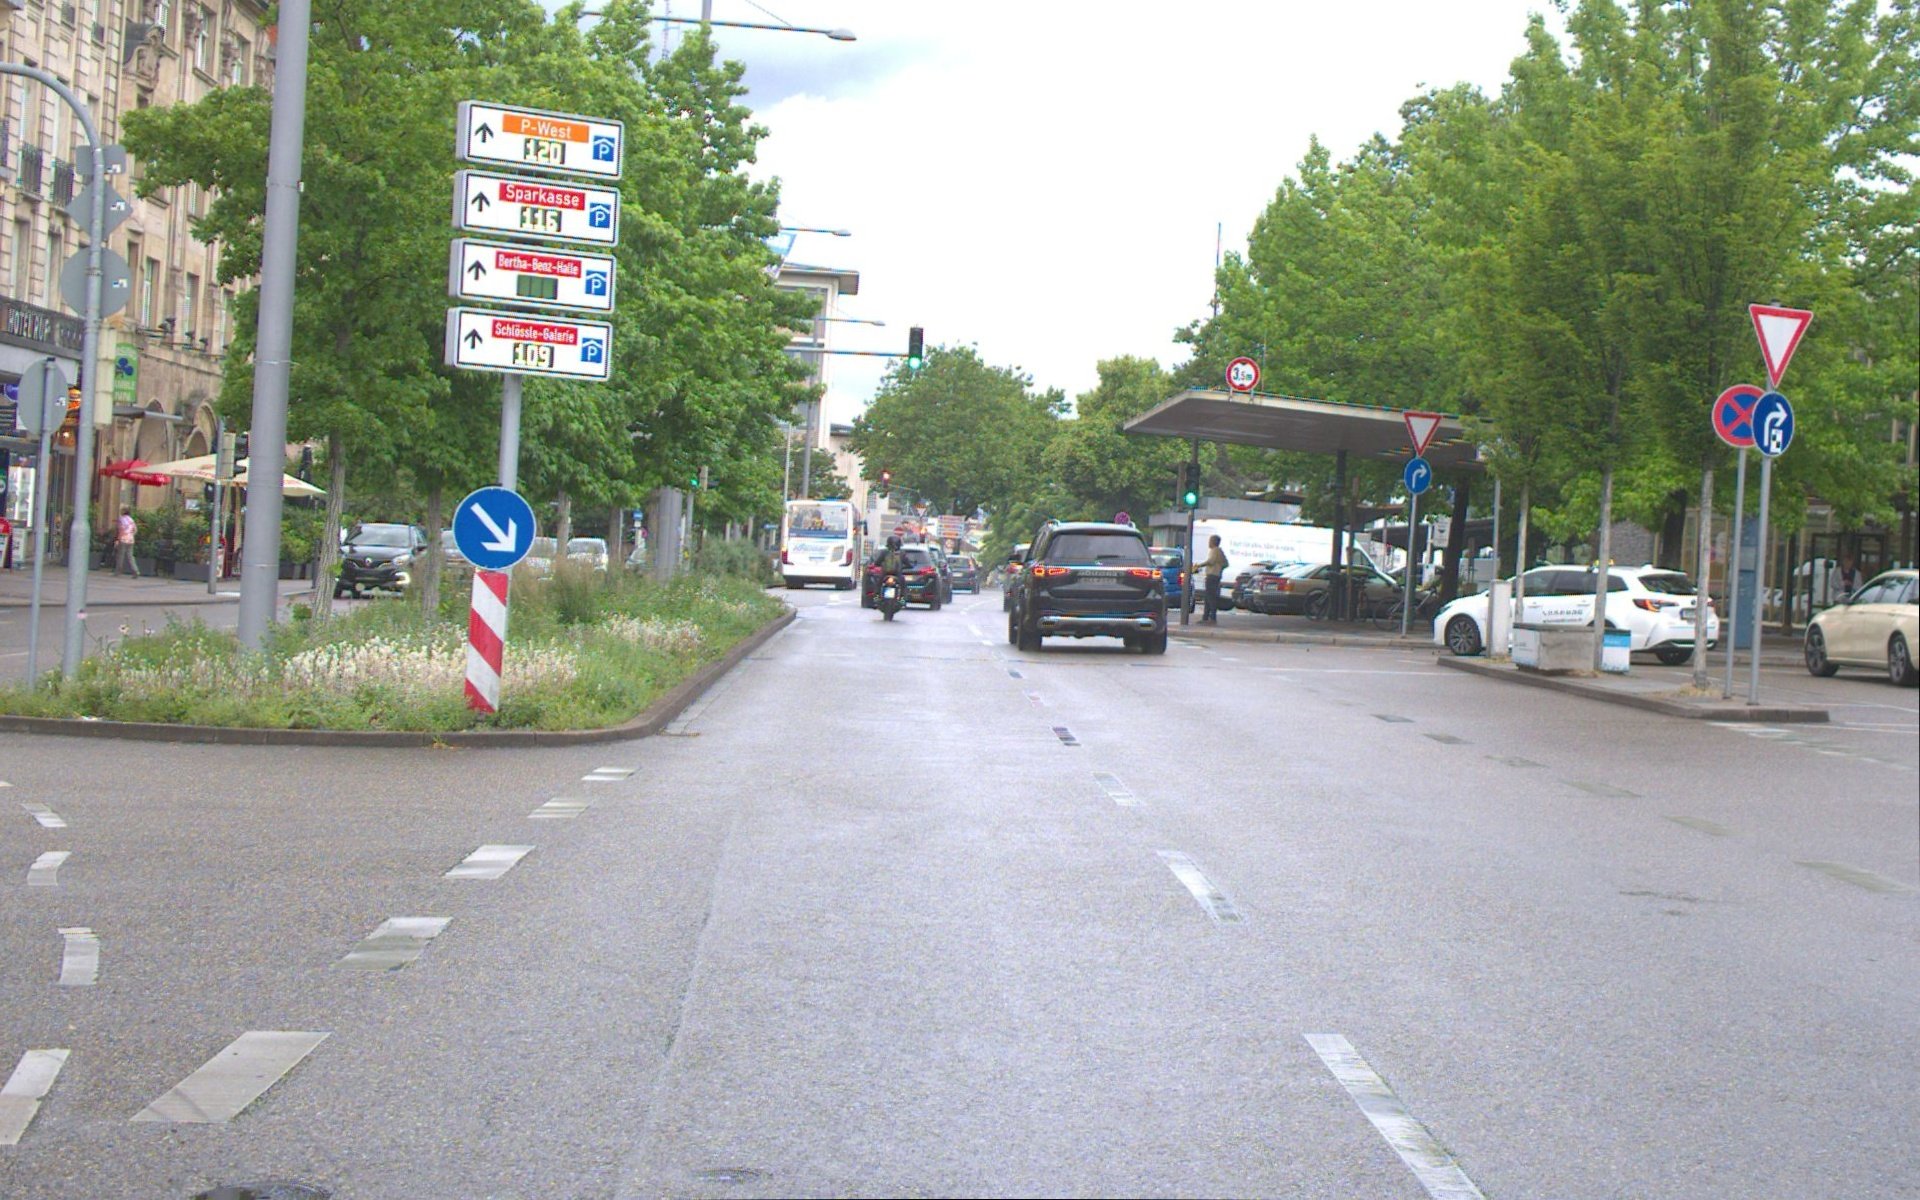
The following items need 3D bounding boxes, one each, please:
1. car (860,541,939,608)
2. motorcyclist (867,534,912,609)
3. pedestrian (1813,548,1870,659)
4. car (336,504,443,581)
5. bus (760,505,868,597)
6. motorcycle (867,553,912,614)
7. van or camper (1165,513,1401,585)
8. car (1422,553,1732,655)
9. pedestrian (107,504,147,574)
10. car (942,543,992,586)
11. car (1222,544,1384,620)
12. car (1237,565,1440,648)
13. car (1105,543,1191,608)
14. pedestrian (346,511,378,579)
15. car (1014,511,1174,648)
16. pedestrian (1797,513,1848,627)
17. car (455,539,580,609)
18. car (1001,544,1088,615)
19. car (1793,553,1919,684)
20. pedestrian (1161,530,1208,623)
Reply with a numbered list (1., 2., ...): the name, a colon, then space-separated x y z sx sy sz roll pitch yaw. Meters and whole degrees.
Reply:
1. car: -1.359 -0.601 77.609 1.708 1.443 4.000 1 1 -1
2. motorcyclist: -1.284 -0.521 62.789 0.764 1.327 0.866 2 1 0
3. pedestrian: 16.141 0.052 62.957 0.769 2.007 0.828 1 1 -2
4. car: -11.857 -1.208 71.647 1.771 1.525 4.079 1 1 -3
5. bus: -5.457 -1.874 130.003 3.760 3.198 15.527 1 1 -2
6. motorcycle: -1.282 -0.307 62.767 0.766 1.073 2.175 2 1 0
7. van or camper: 9.667 -1.504 102.867 6.753 2.007 2.385 1 0 -26
8. car: 9.113 0.035 51.075 1.774 1.380 4.366 0 1 -41
9. pedestrian: -18.031 -1.318 74.436 0.661 1.505 0.519 1 1 -38
10. car: 0.233 -1.296 123.723 1.708 1.469 4.000 1 1 -1
11. car: 9.635 -0.504 96.648 3.986 2.007 2.001 1 1 -20
12. car: 9.052 0.147 82.279 4.335 1.851 2.001 1 1 -20
13. car: 4.649 -0.629 85.397 1.816 1.525 4.000 1 1 -1
14. pedestrian: -14.964 -1.376 86.066 0.674 1.696 0.634 1 1 -1
15. car: 1.837 -0.326 48.612 1.993 1.800 4.690 1 1 -1
16. pedestrian: 18.461 -0.643 73.591 0.843 2.403 0.862 1 1 1
17. car: -9.169 -0.569 71.614 1.724 1.377 4.859 1 1 3
18. car: 1.932 -0.493 79.705 1.851 1.562 4.000 1 1 -1
19. car: 12.606 0.228 44.299 1.993 1.594 4.824 1 1 -7
20. pedestrian: 4.349 -0.460 66.561 0.717 1.785 0.666 1 1 -12
